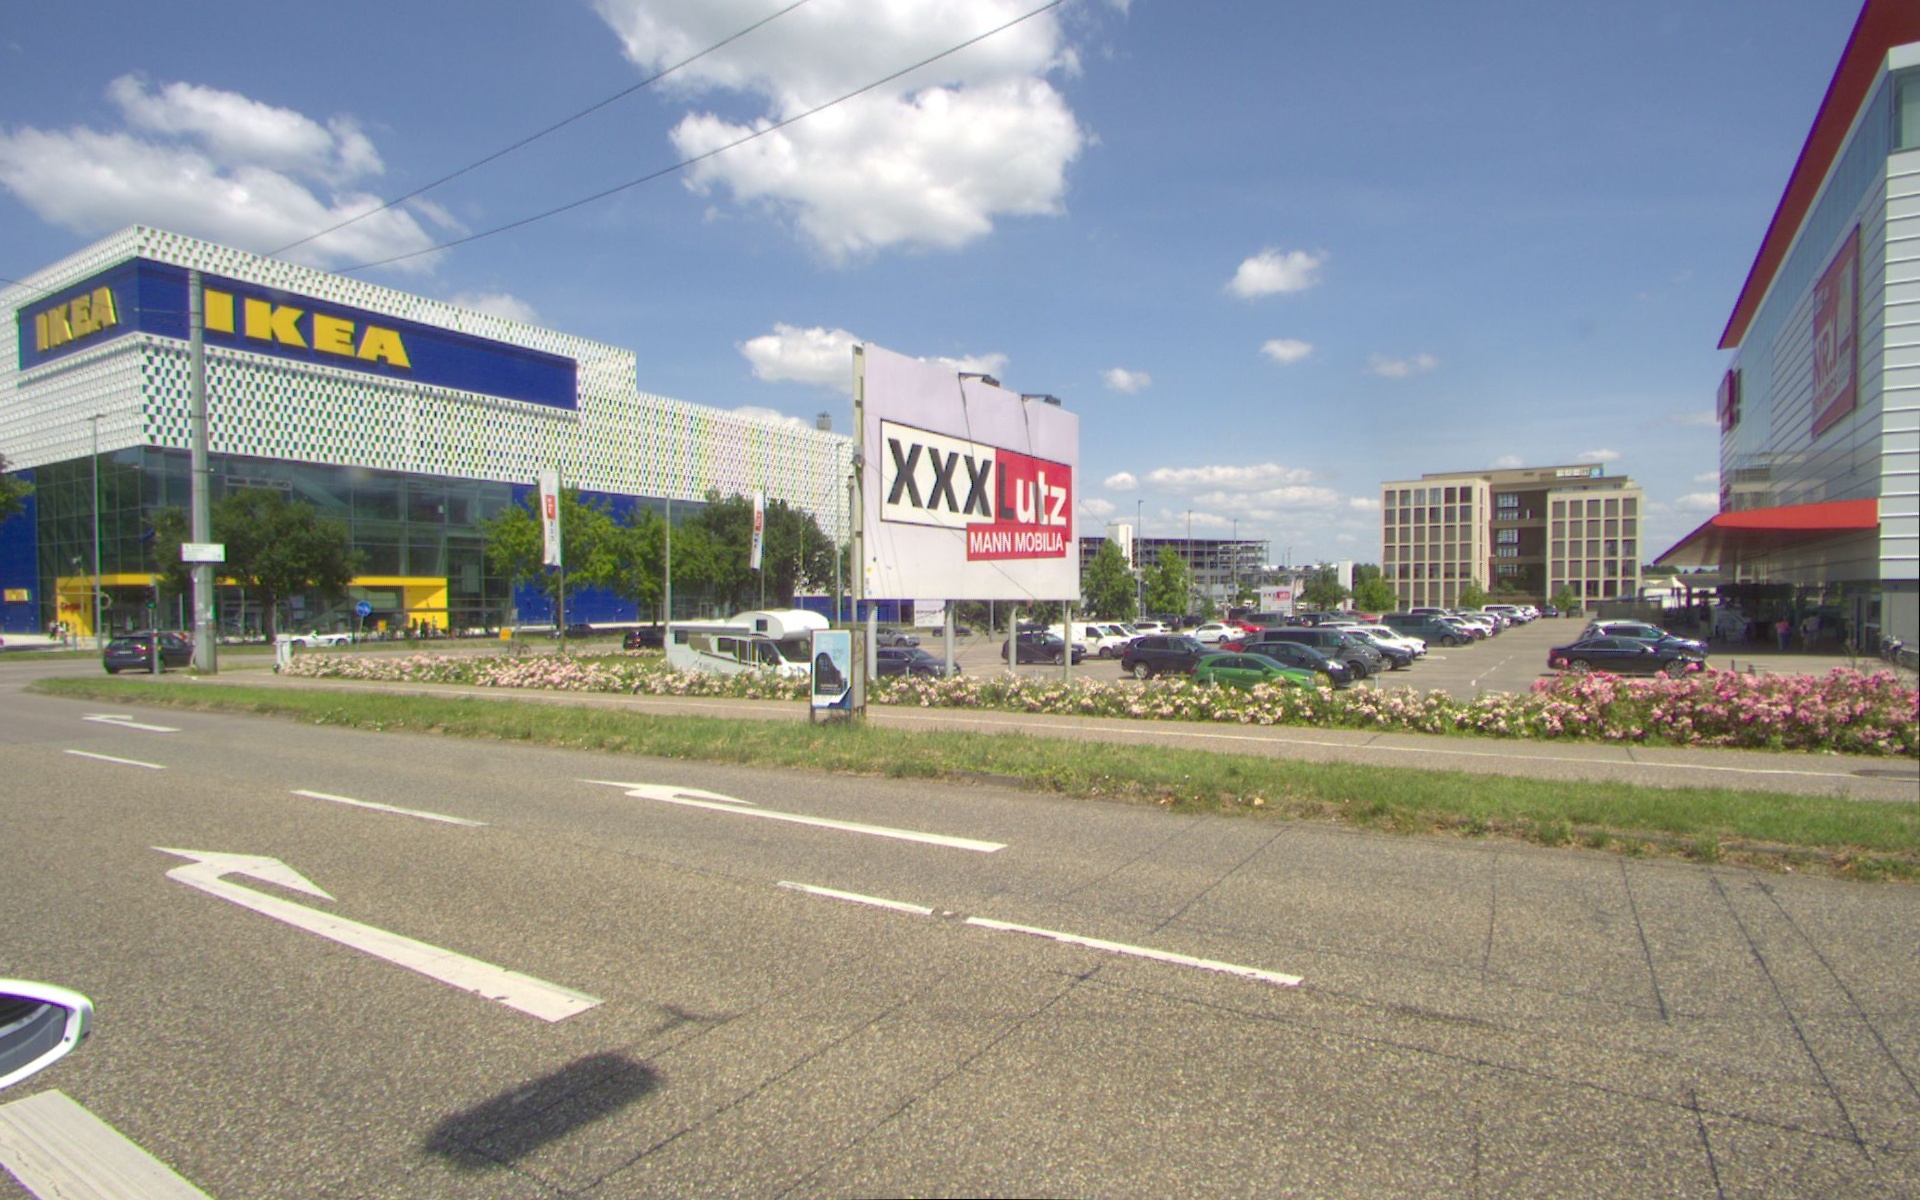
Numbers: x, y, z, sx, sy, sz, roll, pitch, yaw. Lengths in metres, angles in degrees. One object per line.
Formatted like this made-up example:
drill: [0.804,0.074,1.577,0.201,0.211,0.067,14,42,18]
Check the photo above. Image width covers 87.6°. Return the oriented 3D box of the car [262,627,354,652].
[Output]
car: [-41.007,2.499,63.059,1.974,1.505,4.485,0,-2,36]

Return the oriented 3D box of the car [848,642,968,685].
car: [-2.180,2.575,41.365,4.702,1.558,1.989,-1,0,33]

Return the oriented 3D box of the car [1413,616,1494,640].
car: [34.541,1.936,70.179,4.930,1.631,1.990,-1,-1,33]

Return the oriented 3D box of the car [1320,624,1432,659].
car: [20.723,2.048,49.978,4.930,1.672,1.990,-1,-1,33]

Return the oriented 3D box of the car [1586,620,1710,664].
car: [29.279,1.773,42.810,4.271,1.804,1.990,-1,-2,33]

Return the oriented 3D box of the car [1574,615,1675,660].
car: [31.591,1.772,47.765,3.943,2.040,1.990,-1,-1,32]

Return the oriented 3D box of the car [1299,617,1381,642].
car: [25.697,1.984,67.761,4.930,1.631,1.990,-1,-1,33]

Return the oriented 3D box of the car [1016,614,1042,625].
car: [10.570,2.946,152.684,1.974,1.505,4.485,0,-2,36]

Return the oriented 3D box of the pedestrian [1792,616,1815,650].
pedestrian: [40.457,1.578,48.019,0.725,1.578,0.739,0,-1,30]

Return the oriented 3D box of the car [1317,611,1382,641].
car: [27.142,1.835,69.767,3.943,2.040,1.990,-1,-1,32]

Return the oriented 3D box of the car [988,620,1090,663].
car: [4.088,2.126,52.057,4.930,2.162,1.990,-1,-1,33]

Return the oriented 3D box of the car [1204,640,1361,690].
car: [11.286,2.228,35.196,4.930,1.570,1.990,-1,-1,33]

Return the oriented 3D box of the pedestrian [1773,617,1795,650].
pedestrian: [40.422,1.632,49.127,0.725,1.578,0.739,0,-1,30]

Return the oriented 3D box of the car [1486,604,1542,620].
car: [56.631,1.234,102.434,4.930,1.631,1.990,-1,-1,33]

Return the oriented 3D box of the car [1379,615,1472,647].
car: [28.800,1.913,61.991,5.106,1.889,1.991,-1,-1,31]

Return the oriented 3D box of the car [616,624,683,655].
car: [-21.548,2.732,69.656,1.972,2.040,4.172,-1,-1,33]

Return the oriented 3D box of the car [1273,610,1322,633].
car: [31.186,1.973,92.425,3.943,2.040,1.990,-1,-1,32]

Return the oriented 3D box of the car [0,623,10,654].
car: [-49.876,1.861,49.112,1.974,1.505,4.485,0,-2,36]

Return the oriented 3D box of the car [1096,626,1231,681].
car: [8.144,2.099,40.270,4.930,2.041,1.989,-1,1,33]

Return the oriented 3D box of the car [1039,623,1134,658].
car: [7.040,2.208,56.006,4.930,1.876,1.990,-1,-1,33]

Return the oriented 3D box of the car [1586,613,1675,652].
car: [36.276,1.758,54.304,3.943,2.040,1.990,-1,-1,32]

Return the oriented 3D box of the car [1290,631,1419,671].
car: [17.036,2.154,43.305,4.930,1.631,1.990,-1,-1,33]

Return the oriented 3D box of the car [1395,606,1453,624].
car: [45.382,1.485,97.979,4.930,1.631,1.990,-1,-1,33]

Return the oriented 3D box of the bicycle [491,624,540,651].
bicycle: [-25.582,2.141,57.713,0.976,1.500,2.415,0,-1,37]

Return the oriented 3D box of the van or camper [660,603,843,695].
van or camper: [-7.756,1.726,36.750,7.129,3.059,2.499,-1,-1,36]

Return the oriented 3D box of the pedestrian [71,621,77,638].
pedestrian: [-72.157,2.386,81.528,0.263,1.360,0.288,-1,0,32]

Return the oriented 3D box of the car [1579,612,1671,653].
car: [34.619,1.681,52.263,3.943,2.039,1.990,-1,-1,32]

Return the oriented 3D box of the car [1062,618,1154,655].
car: [8.554,2.095,58.098,4.930,2.033,1.990,-1,-1,33]

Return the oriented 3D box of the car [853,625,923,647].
car: [-5.415,2.671,75.403,5.083,1.631,1.990,-1,-1,33]

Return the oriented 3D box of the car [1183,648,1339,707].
car: [9.300,2.349,31.031,4.242,1.517,1.988,-1,2,33]

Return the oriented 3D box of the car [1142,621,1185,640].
car: [20.851,3.122,102.549,3.943,1.863,1.819,-1,-1,32]

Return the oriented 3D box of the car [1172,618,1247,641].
car: [18.035,2.110,72.408,4.930,1.631,1.990,-1,-1,33]

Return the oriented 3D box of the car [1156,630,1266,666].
car: [12.378,2.319,49.453,4.930,1.632,1.989,-1,0,33]

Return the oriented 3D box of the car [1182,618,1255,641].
car: [19.220,2.199,74.449,4.930,1.631,1.990,-1,-1,33]

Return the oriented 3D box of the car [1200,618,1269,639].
car: [21.614,2.262,78.876,4.930,1.631,1.990,-1,-1,33]

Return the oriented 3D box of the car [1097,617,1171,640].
car: [12.615,2.045,72.668,4.922,1.631,1.993,-1,-1,27]

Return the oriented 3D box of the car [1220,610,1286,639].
car: [24.276,2.013,82.956,4.930,2.333,1.990,-1,-1,33]

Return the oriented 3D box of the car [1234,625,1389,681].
car: [13.753,2.016,39.315,5.456,2.039,1.990,-1,-1,33]

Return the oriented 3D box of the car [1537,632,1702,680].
car: [24.114,1.993,36.833,4.930,1.631,1.990,-1,-1,33]

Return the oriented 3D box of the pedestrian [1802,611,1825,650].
pedestrian: [41.384,1.468,48.577,0.725,1.893,0.739,0,-1,30]

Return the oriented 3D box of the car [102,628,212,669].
car: [-32.498,1.919,40.681,1.733,1.546,4.097,0,-1,-10]

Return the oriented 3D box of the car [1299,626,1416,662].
car: [18.930,2.083,47.814,4.930,1.631,1.990,-1,-1,33]

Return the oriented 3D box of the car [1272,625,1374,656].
car: [19.603,2.163,54.199,4.928,1.631,1.990,-1,-1,32]

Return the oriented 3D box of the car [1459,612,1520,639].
car: [39.937,1.927,75.532,3.943,2.040,1.990,-1,-1,32]
